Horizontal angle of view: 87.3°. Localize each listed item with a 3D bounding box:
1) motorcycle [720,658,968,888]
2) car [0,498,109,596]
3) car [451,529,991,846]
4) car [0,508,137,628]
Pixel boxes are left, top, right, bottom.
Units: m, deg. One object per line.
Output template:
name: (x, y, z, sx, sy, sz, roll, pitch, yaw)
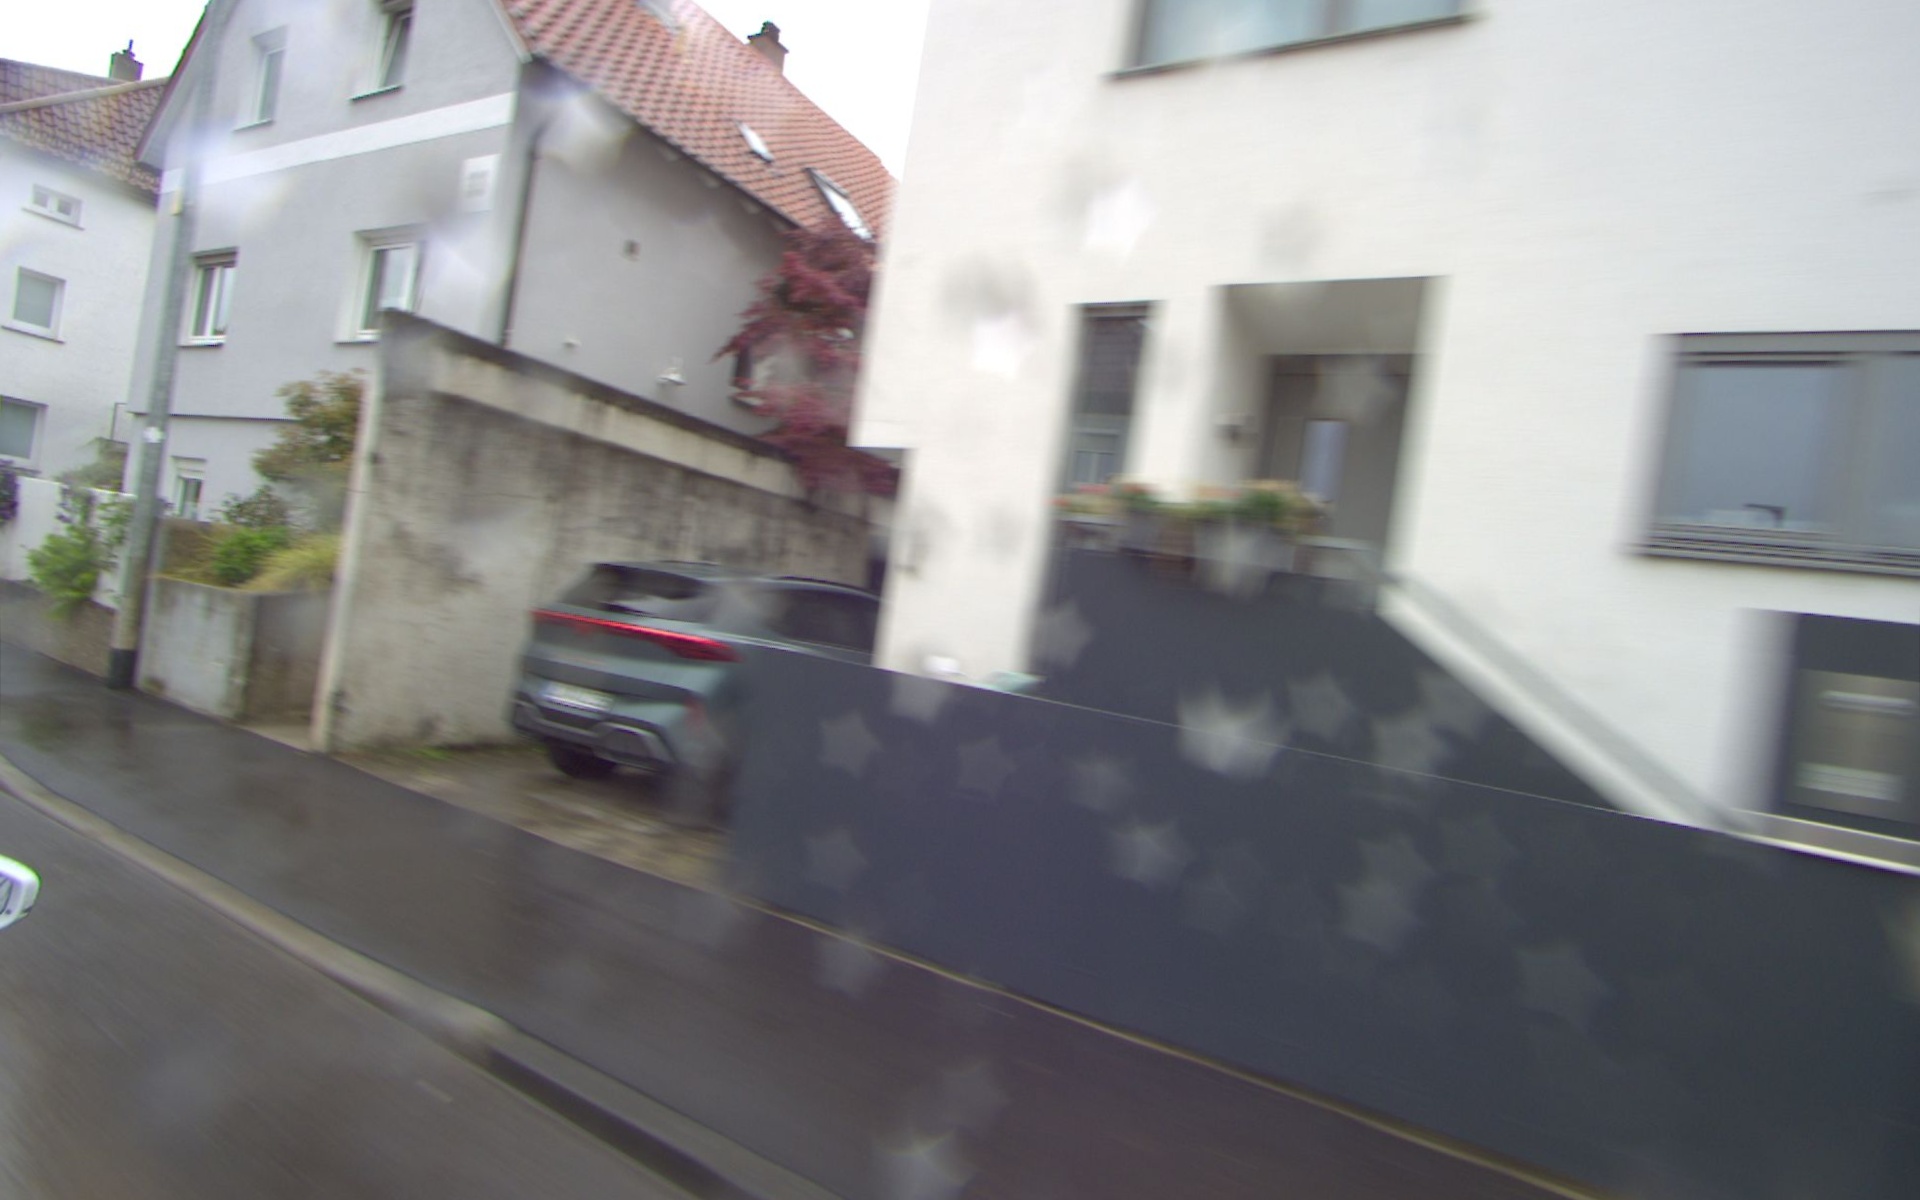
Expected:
motorcycle: (-0.605, 0.887, 5.288, 1.130, 1.025, 0.555, 6, 0, -8)
car: (-16.974, -1.044, 17.061, 1.554, 1.528, 3.482, 7, -1, 31)
car: (-1.441, 0.564, 7.364, 1.788, 1.602, 3.594, 6, -1, 29)
car: (-15.021, -0.715, 15.239, 1.554, 1.494, 3.462, 7, -8, 31)
